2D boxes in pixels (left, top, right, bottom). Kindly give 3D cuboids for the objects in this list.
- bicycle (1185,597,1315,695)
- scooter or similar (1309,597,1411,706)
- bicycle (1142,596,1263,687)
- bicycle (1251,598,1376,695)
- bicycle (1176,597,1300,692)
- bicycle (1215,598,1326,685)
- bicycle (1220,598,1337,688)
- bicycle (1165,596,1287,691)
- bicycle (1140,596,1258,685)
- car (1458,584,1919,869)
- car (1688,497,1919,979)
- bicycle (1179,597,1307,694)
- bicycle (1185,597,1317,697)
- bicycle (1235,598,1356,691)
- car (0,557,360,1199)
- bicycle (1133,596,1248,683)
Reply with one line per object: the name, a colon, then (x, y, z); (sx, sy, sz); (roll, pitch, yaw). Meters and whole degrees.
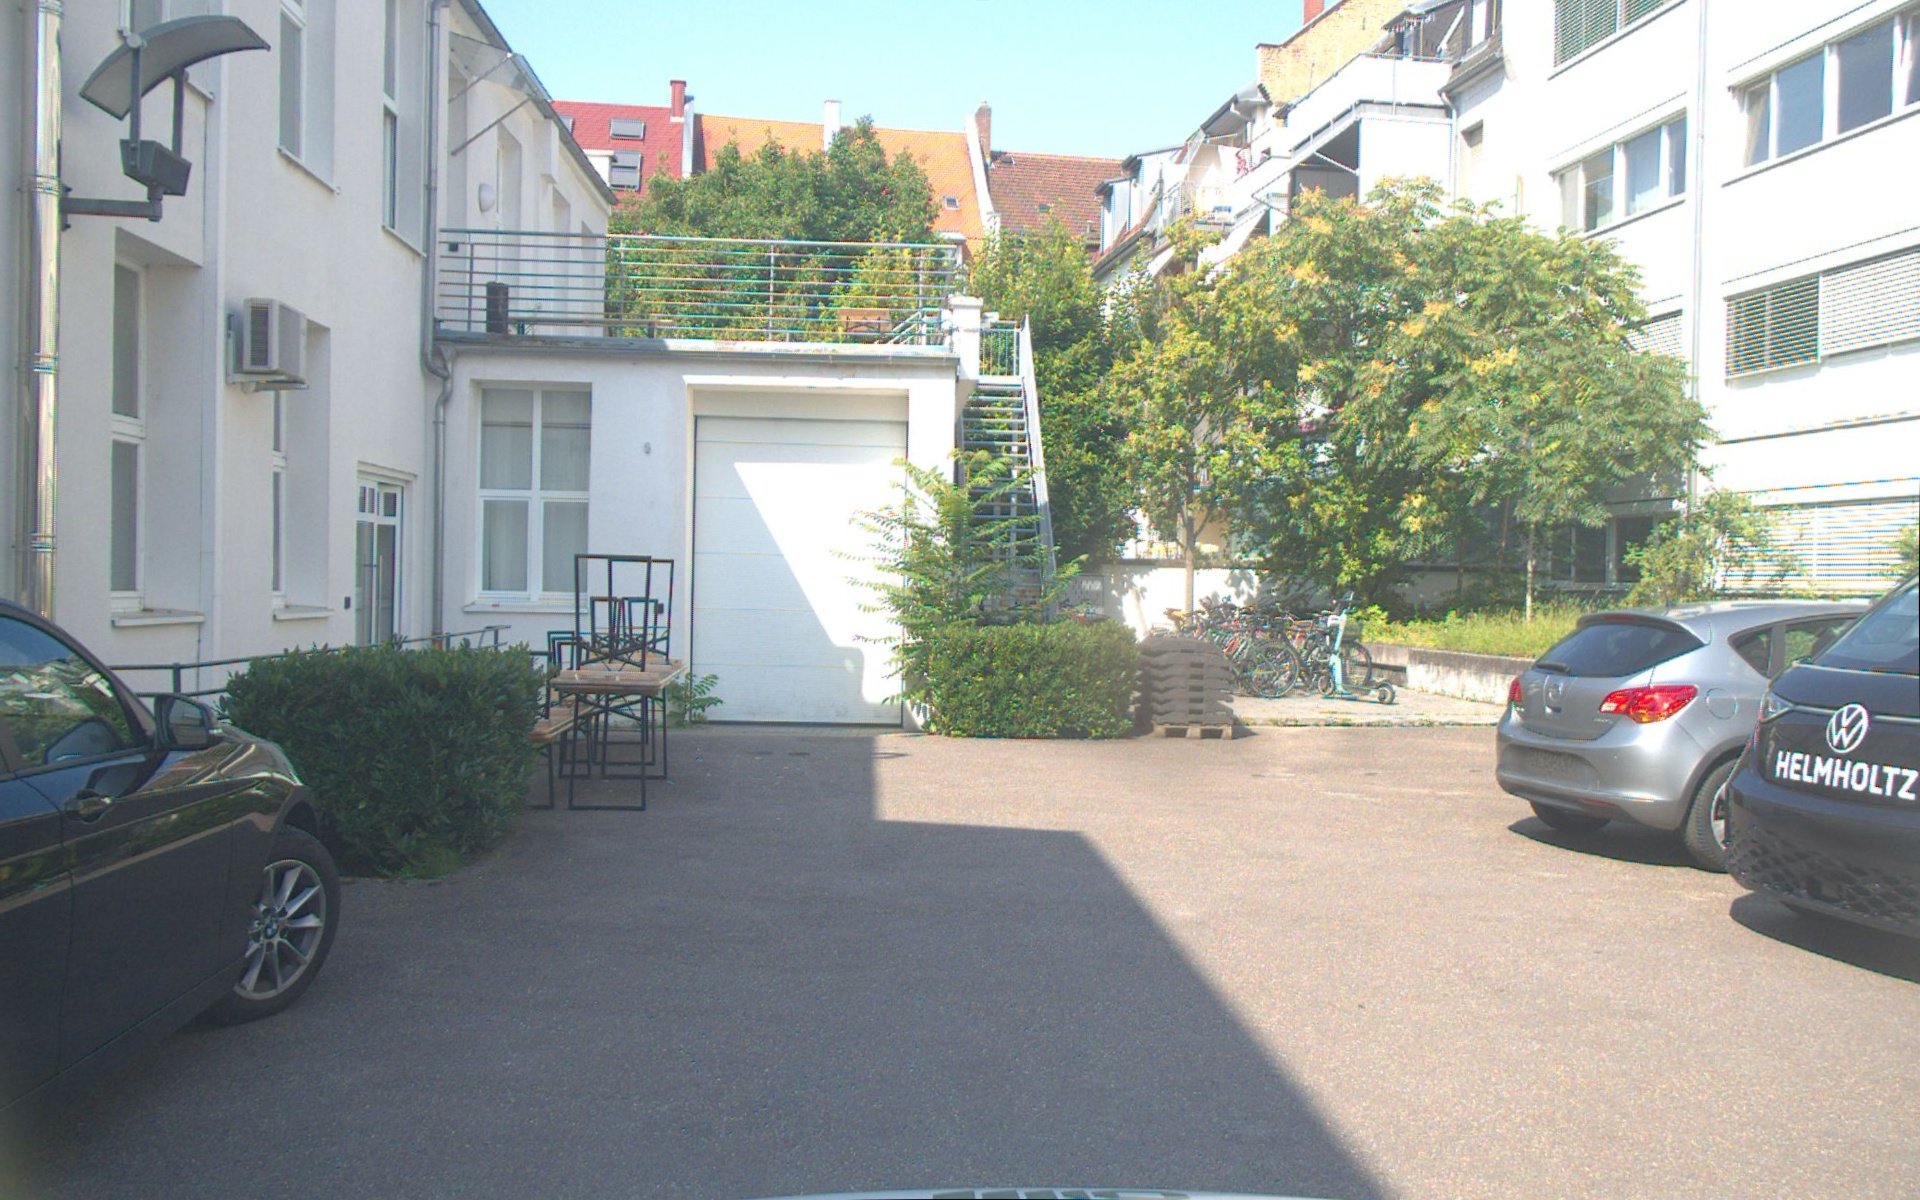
bicycle: (3.676, 0.579, 20.992); (1.590, 1.235, 0.327); (0, 0, -2)
scooter or similar: (4.943, 0.617, 20.498); (0.375, 1.283, 1.332); (0, 1, -34)
bicycle: (3.329, 0.568, 22.760); (1.591, 1.235, 0.424); (0, 0, -4)
bicycle: (4.631, 0.601, 21.692); (1.588, 1.235, 0.327); (0, 0, 12)
bicycle: (3.643, 0.577, 21.735); (1.588, 1.235, 0.327); (0, 0, 7)
bicycle: (4.524, 0.594, 24.152); (1.588, 1.235, 0.424); (0, 0, 9)
bicycle: (4.438, 0.594, 23.120); (1.588, 1.235, 0.424); (0, 0, 9)
bicycle: (3.548, 0.574, 22.095); (1.588, 1.235, 0.327); (0, 0, 10)
bicycle: (3.378, 0.568, 23.398); (1.593, 1.235, 0.423); (0, 0, -9)
car: (5.227, 0.689, 10.057); (3.863, 1.508, 1.769); (1, 0, -13)
car: (5.706, 0.544, 7.196); (4.422, 1.826, 1.877); (1, 0, -13)
bicycle: (3.632, 0.577, 21.283); (1.590, 1.235, 0.327); (0, 0, -2)
bicycle: (3.627, 0.578, 20.667); (1.590, 1.235, 0.327); (0, 0, -2)
bicycle: (4.563, 0.598, 22.550); (1.588, 1.235, 0.424); (0, 0, 10)
car: (-2.714, 0.638, 3.561); (1.655, 1.484, 3.919); (1, 0, -5)
bicycle: (3.342, 0.566, 23.999); (1.592, 1.235, 0.423); (0, 0, -8)
